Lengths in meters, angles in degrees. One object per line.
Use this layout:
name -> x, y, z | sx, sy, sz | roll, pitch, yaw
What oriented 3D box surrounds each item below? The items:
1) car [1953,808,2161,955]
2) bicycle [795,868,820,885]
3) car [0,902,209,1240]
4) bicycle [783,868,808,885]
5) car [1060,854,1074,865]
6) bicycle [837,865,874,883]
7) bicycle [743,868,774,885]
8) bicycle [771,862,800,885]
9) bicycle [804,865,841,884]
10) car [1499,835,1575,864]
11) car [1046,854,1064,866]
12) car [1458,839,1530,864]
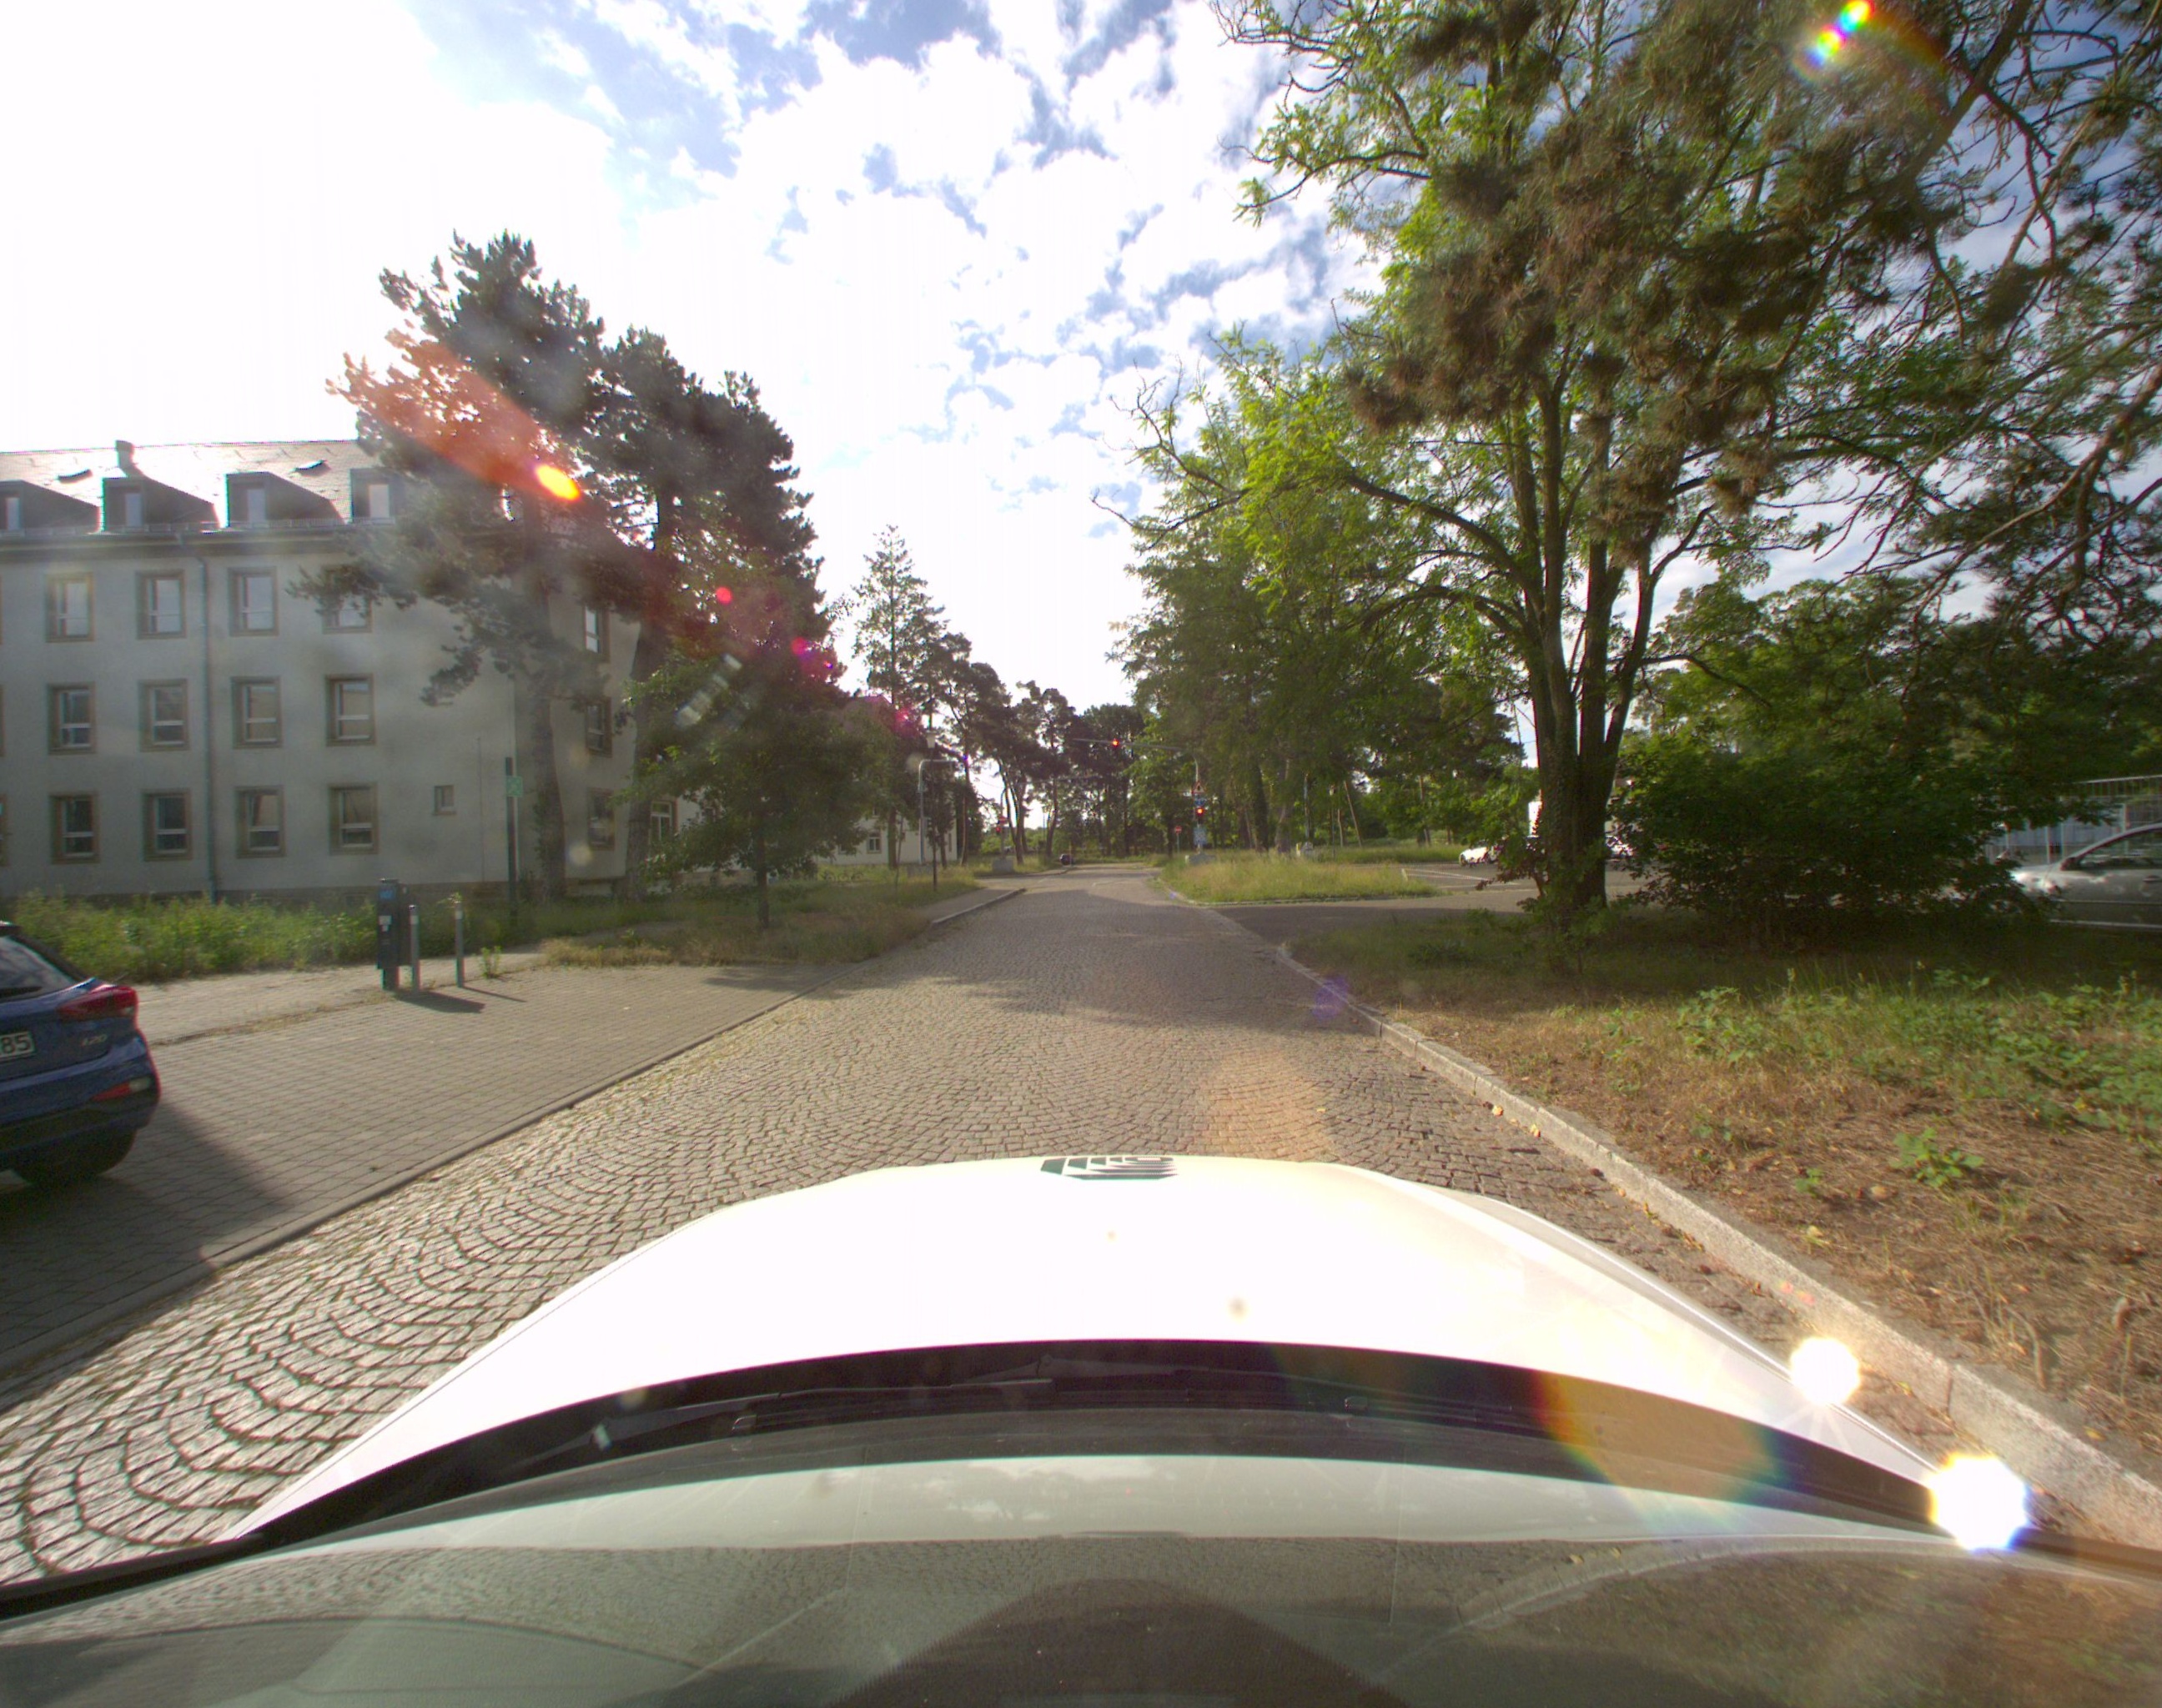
car -> 11.660, 0.246, 8.076 | 1.663, 1.467, 3.997 | -2, 0, -2
bicycle -> -18.099, 1.451, 53.897 | 0.823, 1.047, 2.125 | -2, 0, 2
car -> -6.754, 1.003, 3.699 | 3.819, 1.464, 1.721 | 0, 0, 3
bicycle -> -18.881, 1.459, 53.872 | 0.823, 1.047, 2.125 | -2, 0, 2
car -> -1.840, 0.738, 109.808 | 1.839, 1.486, 3.999 | -2, 0, 0
bicycle -> -14.575, 1.284, 52.658 | 2.111, 1.047, 0.828 | -2, 0, -2
bicycle -> -21.340, 1.483, 53.969 | 0.897, 1.047, 2.555 | -2, 0, 2
bicycle -> -19.664, 1.258, 54.232 | 0.823, 1.437, 2.555 | -2, 0, 2
bicycle -> -16.697, 1.307, 52.612 | 2.111, 1.108, 0.828 | -2, 0, -2
car -> 25.508, -0.252, 45.714 | 1.726, 1.476, 4.329 | -2, 0, -1
car -> -3.677, 0.809, 114.657 | 1.772, 1.490, 3.765 | -2, 0, 9
car -> 22.987, -0.139, 45.465 | 1.726, 1.312, 4.329 | -2, 0, -1
